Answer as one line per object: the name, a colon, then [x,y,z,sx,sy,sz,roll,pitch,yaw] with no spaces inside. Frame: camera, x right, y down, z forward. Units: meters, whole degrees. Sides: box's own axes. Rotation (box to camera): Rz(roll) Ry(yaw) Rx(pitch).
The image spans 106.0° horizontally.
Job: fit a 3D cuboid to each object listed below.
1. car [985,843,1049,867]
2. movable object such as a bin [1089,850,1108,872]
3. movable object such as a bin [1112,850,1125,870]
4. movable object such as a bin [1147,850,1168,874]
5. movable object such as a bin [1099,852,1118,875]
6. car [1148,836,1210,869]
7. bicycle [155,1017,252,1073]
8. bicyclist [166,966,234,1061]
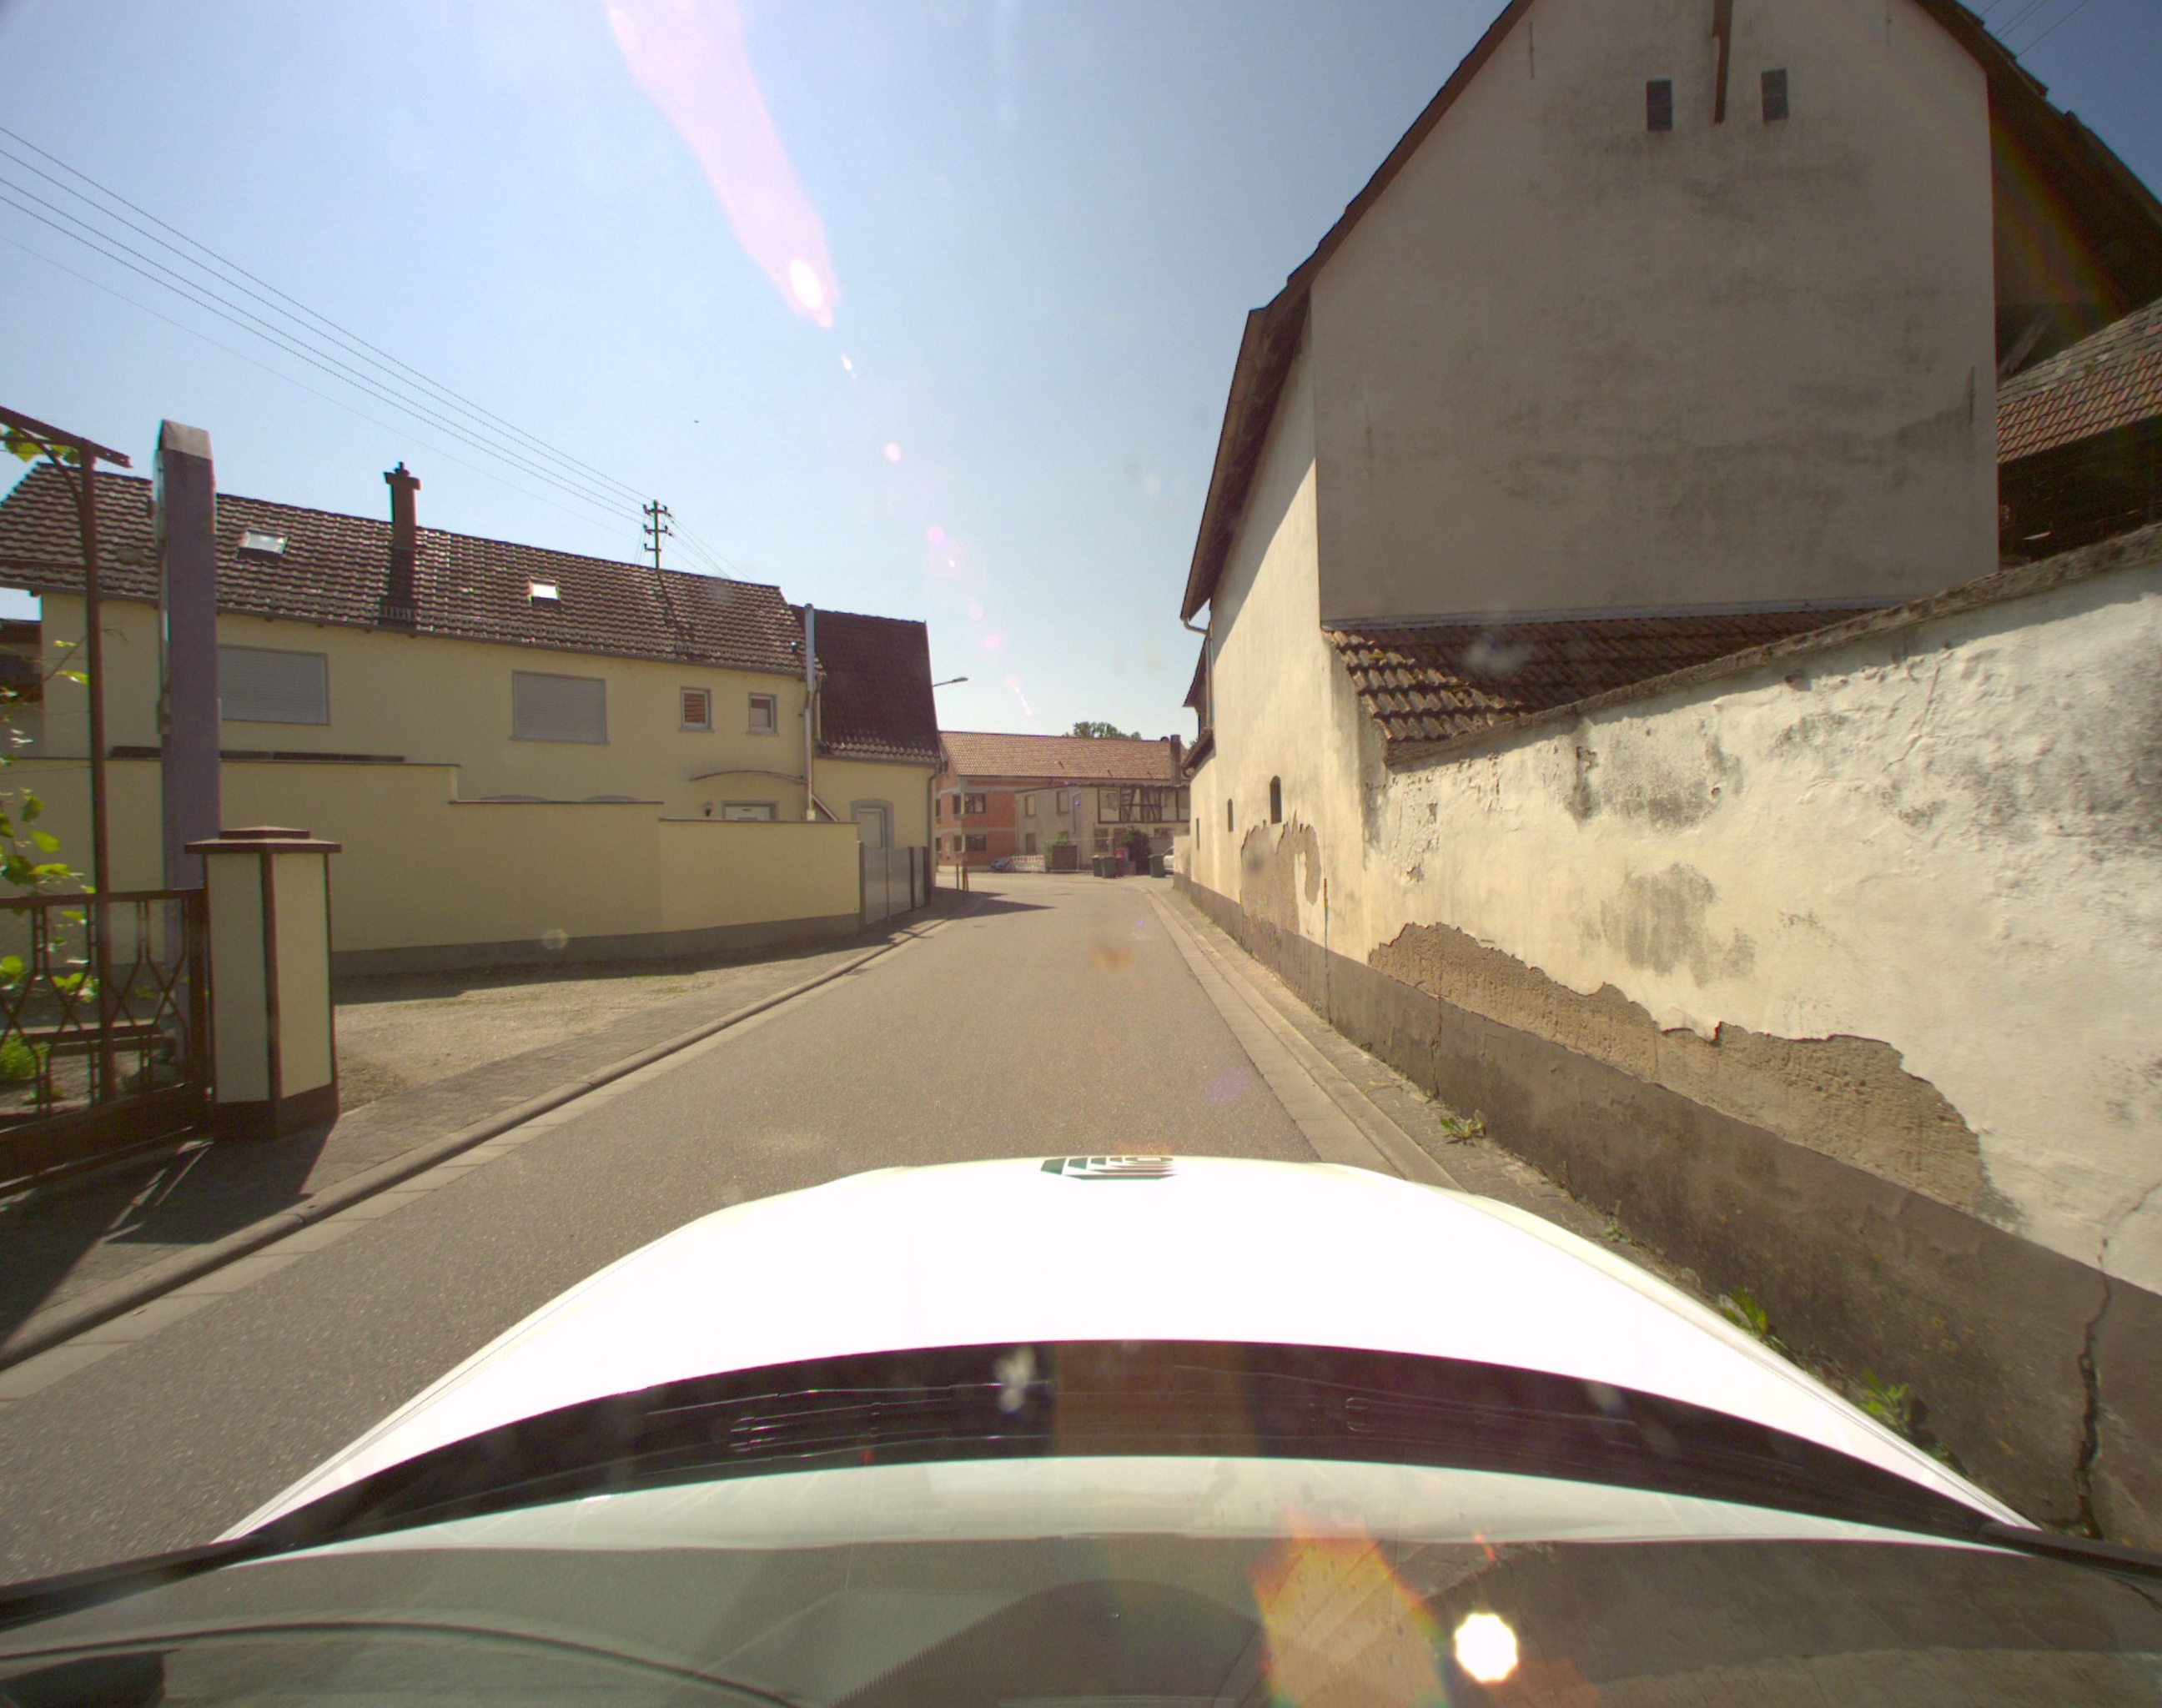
car: [-4.527,0.074,57.909,4.118,1.507,1.850,-3,1,-34]
movable object such as a bin: [0.889,0.353,41.831,0.664,1.072,0.766,-1,1,29]
movable object such as a bin: [1.867,0.310,40.906,0.466,0.970,0.492,-2,1,-21]
movable object such as a bin: [3.612,0.384,38.415,0.723,1.081,0.749,-2,1,-24]
movable object such as a bin: [1.329,0.437,39.572,0.689,1.092,0.633,-2,1,-21]
car: [4.987,-0.111,42.167,1.813,1.528,4.277,-2,1,-13]
bicycle: [-5.850,1.268,5.432,0.529,0.305,0.221,-2,0,17]
bicyclist: [-5.878,1.057,5.436,0.244,0.582,0.219,-1,0,17]
